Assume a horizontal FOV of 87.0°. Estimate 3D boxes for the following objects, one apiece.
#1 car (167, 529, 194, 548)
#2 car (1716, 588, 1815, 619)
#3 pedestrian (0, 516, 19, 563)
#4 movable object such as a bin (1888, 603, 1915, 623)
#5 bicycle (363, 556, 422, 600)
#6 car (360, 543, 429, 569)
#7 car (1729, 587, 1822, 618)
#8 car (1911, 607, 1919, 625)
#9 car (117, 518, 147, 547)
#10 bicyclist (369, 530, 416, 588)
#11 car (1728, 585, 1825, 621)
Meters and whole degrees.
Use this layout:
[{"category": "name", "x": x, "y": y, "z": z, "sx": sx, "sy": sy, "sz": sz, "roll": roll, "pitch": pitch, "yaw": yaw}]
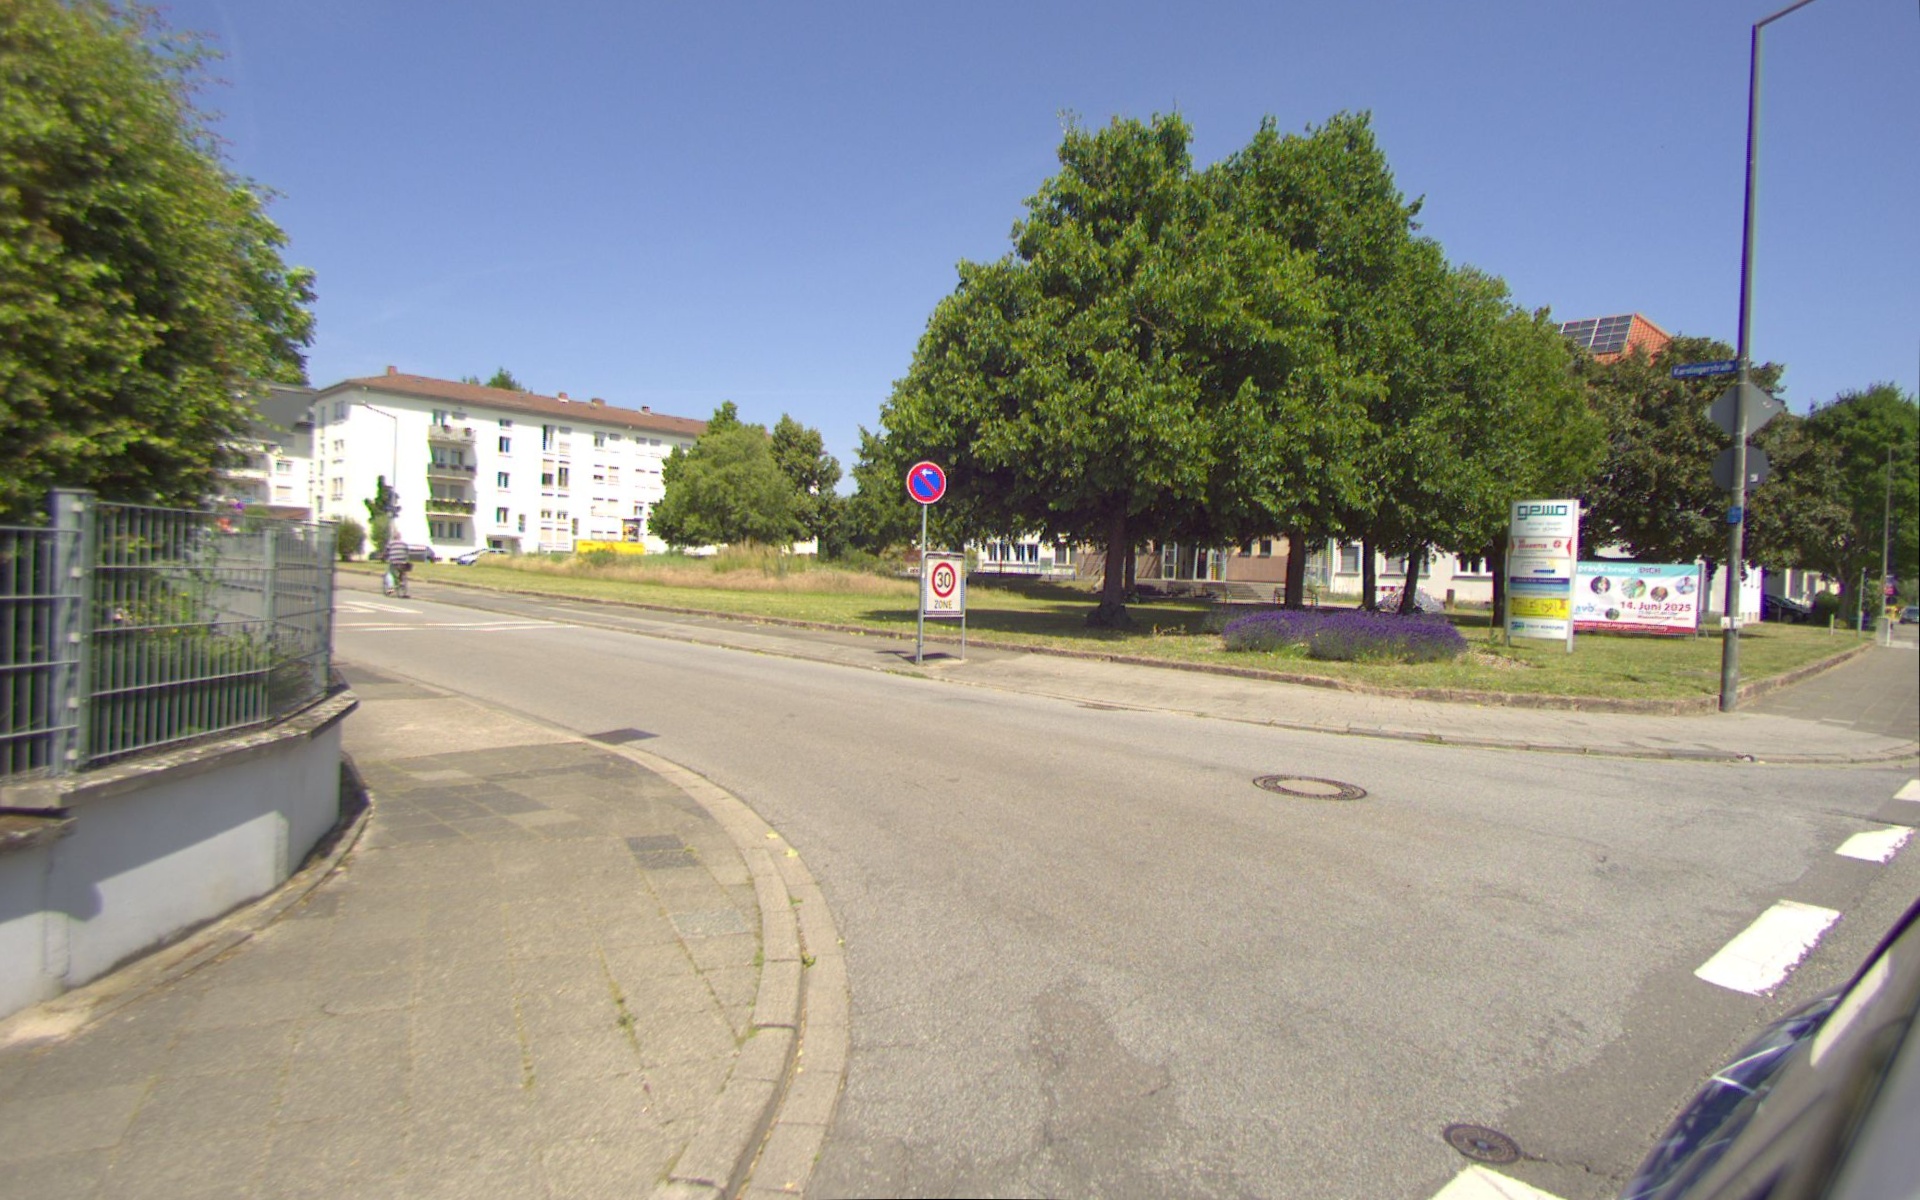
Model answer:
[{"category": "car", "x": -58.041, "y": -4.598, "z": 75.404, "sx": 1.494, "sy": 1.342, "sz": 3.182, "roll": 1, "pitch": 2, "yaw": -37}, {"category": "car", "x": 46.761, "y": 0.187, "z": 58.806, "sx": 4.355, "sy": 1.452, "sz": 1.970, "roll": 6, "pitch": 4, "yaw": 42}, {"category": "pedestrian", "x": -39.395, "y": -2.488, "z": 41.726, "sx": 0.628, "sy": 1.876, "sz": 0.774, "roll": 0, "pitch": 0, "yaw": 38}, {"category": "movable object such as a bin", "x": 74.379, "y": 1.013, "z": 79.994, "sx": 1.495, "sy": 1.499, "sz": 1.401, "roll": 4, "pitch": 2, "yaw": 43}, {"category": "bicycle", "x": -15.618, "y": -0.615, "z": 27.820, "sx": 2.140, "sy": 1.117, "sz": 0.803, "roll": 4, "pitch": 2, "yaw": 43}, {"category": "car", "x": -37.842, "y": -2.913, "z": 67.758, "sx": 3.770, "sy": 1.649, "sz": 1.506, "roll": 0, "pitch": 0, "yaw": -44}, {"category": "car", "x": 50.763, "y": 0.152, "z": 63.013, "sx": 4.355, "sy": 1.544, "sz": 1.970, "roll": 6, "pitch": 4, "yaw": 42}, {"category": "car", "x": 81.009, "y": 1.331, "z": 85.003, "sx": 1.603, "sy": 1.429, "sz": 3.847, "roll": 1, "pitch": 0, "yaw": 43}, {"category": "car", "x": -59.902, "y": -4.872, "z": 73.233, "sx": 1.494, "sy": 1.950, "sz": 3.182, "roll": 1, "pitch": 2, "yaw": -37}, {"category": "bicyclist", "x": -15.585, "y": -1.132, "z": 27.791, "sx": 0.925, "sy": 1.549, "sz": 0.843, "roll": 3, "pitch": 2, "yaw": 43}, {"category": "car", "x": 48.882, "y": 0.137, "z": 60.647, "sx": 4.355, "sy": 1.808, "sz": 1.970, "roll": 6, "pitch": 3, "yaw": 42}]
